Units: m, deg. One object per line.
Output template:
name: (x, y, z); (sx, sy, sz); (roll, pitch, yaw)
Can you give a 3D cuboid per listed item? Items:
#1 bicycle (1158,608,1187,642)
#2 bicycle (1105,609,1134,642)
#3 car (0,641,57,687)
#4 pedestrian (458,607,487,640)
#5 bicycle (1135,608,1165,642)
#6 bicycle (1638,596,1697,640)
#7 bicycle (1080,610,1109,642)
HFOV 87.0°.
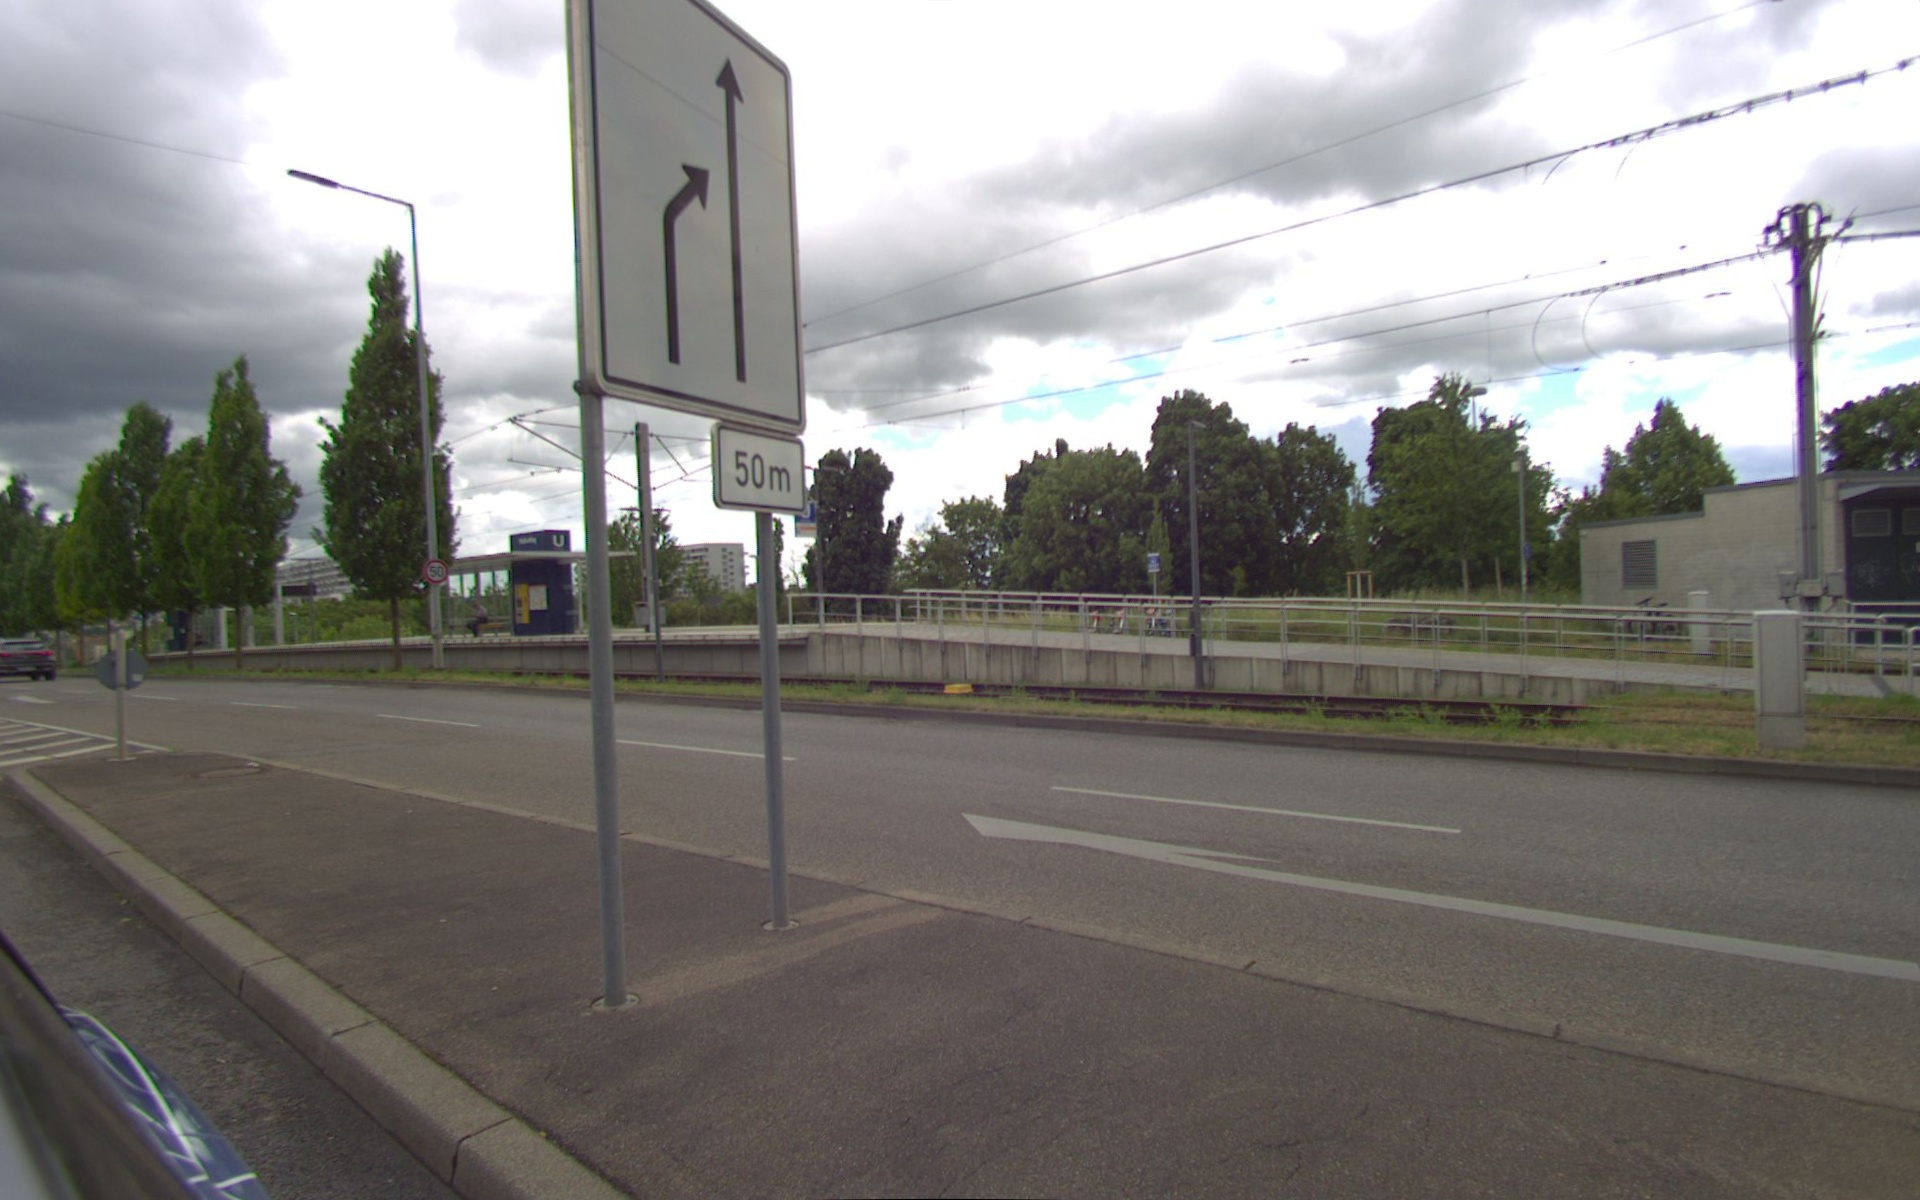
bicycle: (7.046, 0.815, 33.468); (0.490, 1.095, 1.466); (-2, -1, 30)
bicycle: (5.441, 0.867, 34.460); (0.490, 1.095, 1.466); (-2, -1, 30)
car: (-35.092, 2.318, 37.402); (4.217, 1.558, 1.762); (-2, -1, 37)
pedestrian: (-18.250, 0.880, 37.876); (0.781, 1.211, 0.656); (-2, -1, 33)
bicycle: (6.381, 0.843, 33.948); (0.490, 1.095, 1.466); (-2, -1, 30)
bicycle: (18.195, 0.456, 26.059); (0.486, 1.095, 1.480); (-1, -1, 3)
bicycle: (4.684, 0.894, 35.162); (0.490, 1.095, 1.466); (-2, -1, 30)
